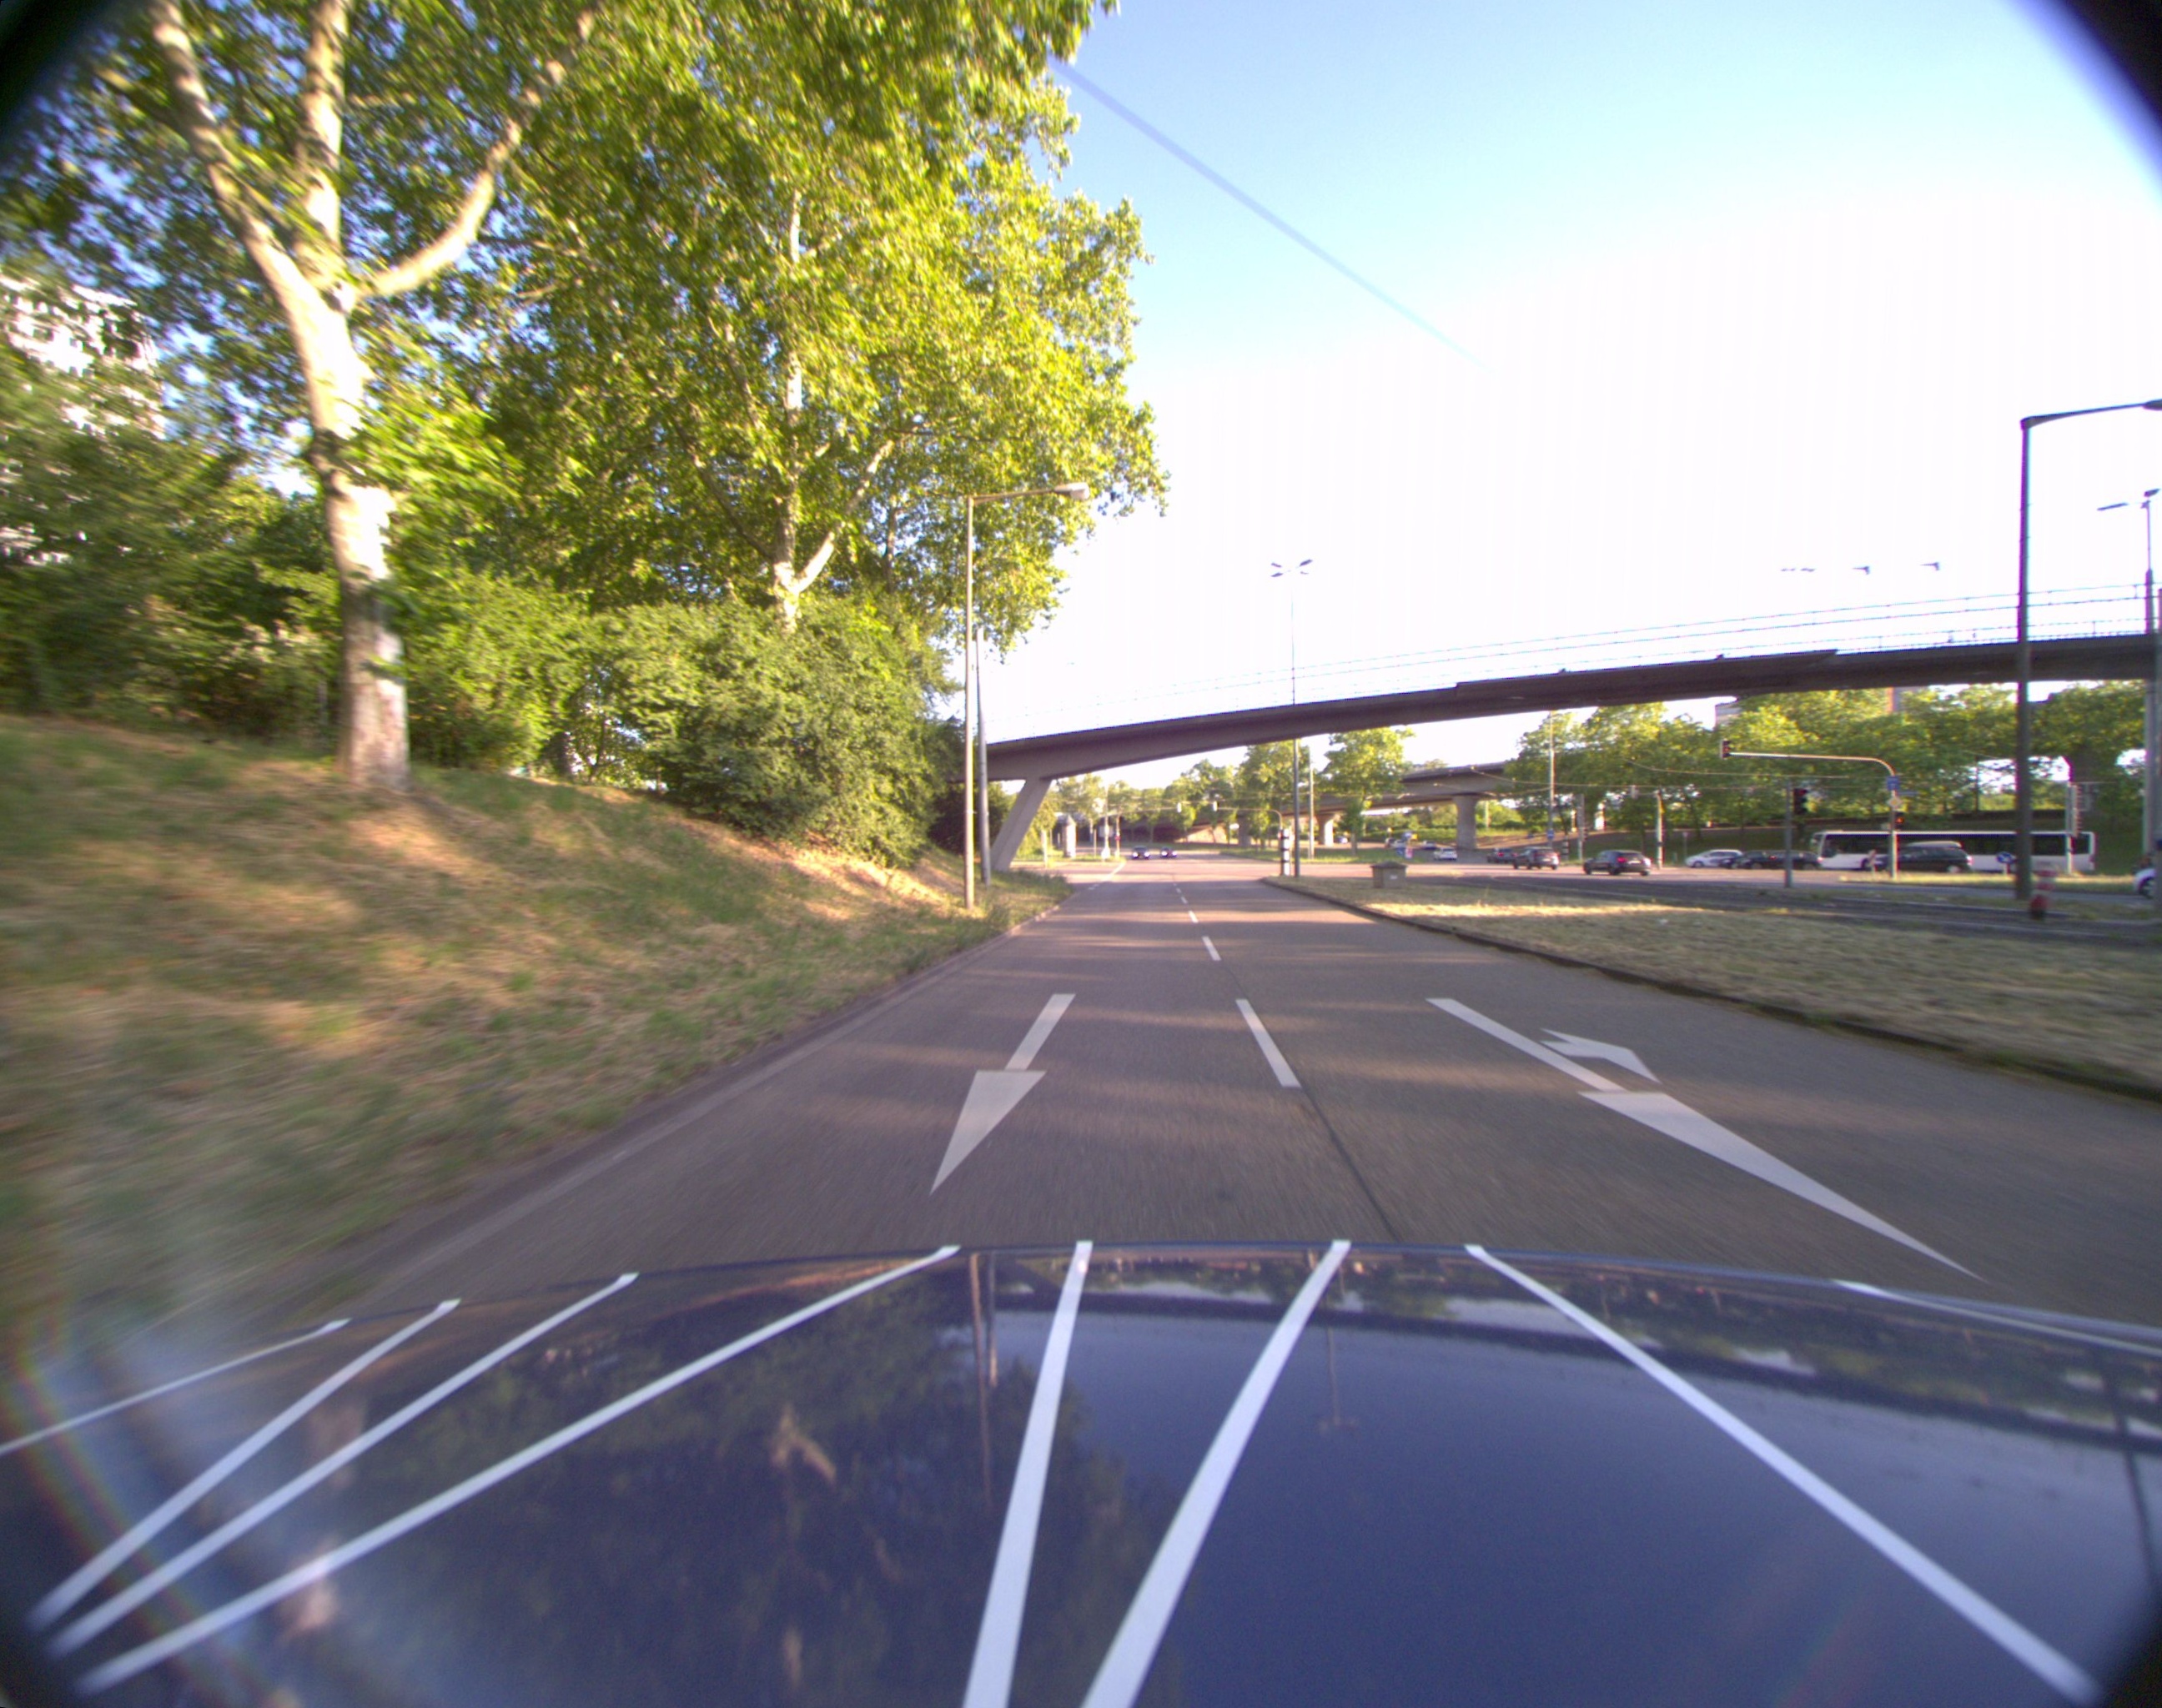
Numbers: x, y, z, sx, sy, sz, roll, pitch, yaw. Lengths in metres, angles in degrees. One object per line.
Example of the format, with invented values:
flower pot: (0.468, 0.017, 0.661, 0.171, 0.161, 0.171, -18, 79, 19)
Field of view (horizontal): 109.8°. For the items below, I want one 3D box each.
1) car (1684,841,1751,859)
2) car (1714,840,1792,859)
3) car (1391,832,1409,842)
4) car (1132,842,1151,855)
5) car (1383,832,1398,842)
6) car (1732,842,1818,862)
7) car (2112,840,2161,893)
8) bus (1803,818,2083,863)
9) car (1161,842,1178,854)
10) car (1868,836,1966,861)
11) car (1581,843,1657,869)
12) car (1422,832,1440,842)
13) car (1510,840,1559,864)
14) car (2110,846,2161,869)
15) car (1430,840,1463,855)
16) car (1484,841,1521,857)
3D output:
car: (49.688, -0.276, 59.390, 3.725, 1.346, 1.612, 0, 2, 25)
car: (49.047, -0.324, 55.558, 3.990, 1.346, 1.612, 0, 2, 25)
car: (51.975, -2.745, 123.843, 1.854, 1.600, 4.311, -1, 1, 12)
car: (7.423, -0.676, 93.210, 1.998, 1.477, 4.000, -1, 0, 1)
car: (54.830, -3.028, 134.726, 1.854, 1.856, 4.149, -1, 1, 12)
car: (48.046, -0.121, 52.694, 4.084, 1.346, 1.719, 0, 2, 28)
car: (30.723, 0.361, 19.882, 1.690, 1.408, 4.439, -2, 1, 6)
bus: (60.177, -0.908, 53.761, 12.818, 2.938, 2.836, 0, 2, 29)
car: (11.527, -0.727, 99.198, 1.998, 1.477, 4.000, -1, 0, 3)
car: (56.401, -0.388, 51.350, 4.084, 1.643, 1.719, 0, 2, 28)
car: (29.977, 0.085, 42.488, 1.689, 1.302, 4.311, -1, 1, 9)
car: (54.732, -2.659, 118.789, 1.853, 1.600, 4.375, -1, 1, 16)
car: (32.863, -0.189, 55.192, 1.793, 1.641, 4.360, -1, 1, 12)
car: (69.577, 0.213, 48.661, 3.989, 1.434, 1.708, 0, 2, 28)
car: (39.076, -0.703, 81.433, 2.009, 1.435, 4.863, -1, 1, 11)
car: (40.635, -0.524, 73.346, 2.008, 1.435, 4.256, -1, 1, 12)
